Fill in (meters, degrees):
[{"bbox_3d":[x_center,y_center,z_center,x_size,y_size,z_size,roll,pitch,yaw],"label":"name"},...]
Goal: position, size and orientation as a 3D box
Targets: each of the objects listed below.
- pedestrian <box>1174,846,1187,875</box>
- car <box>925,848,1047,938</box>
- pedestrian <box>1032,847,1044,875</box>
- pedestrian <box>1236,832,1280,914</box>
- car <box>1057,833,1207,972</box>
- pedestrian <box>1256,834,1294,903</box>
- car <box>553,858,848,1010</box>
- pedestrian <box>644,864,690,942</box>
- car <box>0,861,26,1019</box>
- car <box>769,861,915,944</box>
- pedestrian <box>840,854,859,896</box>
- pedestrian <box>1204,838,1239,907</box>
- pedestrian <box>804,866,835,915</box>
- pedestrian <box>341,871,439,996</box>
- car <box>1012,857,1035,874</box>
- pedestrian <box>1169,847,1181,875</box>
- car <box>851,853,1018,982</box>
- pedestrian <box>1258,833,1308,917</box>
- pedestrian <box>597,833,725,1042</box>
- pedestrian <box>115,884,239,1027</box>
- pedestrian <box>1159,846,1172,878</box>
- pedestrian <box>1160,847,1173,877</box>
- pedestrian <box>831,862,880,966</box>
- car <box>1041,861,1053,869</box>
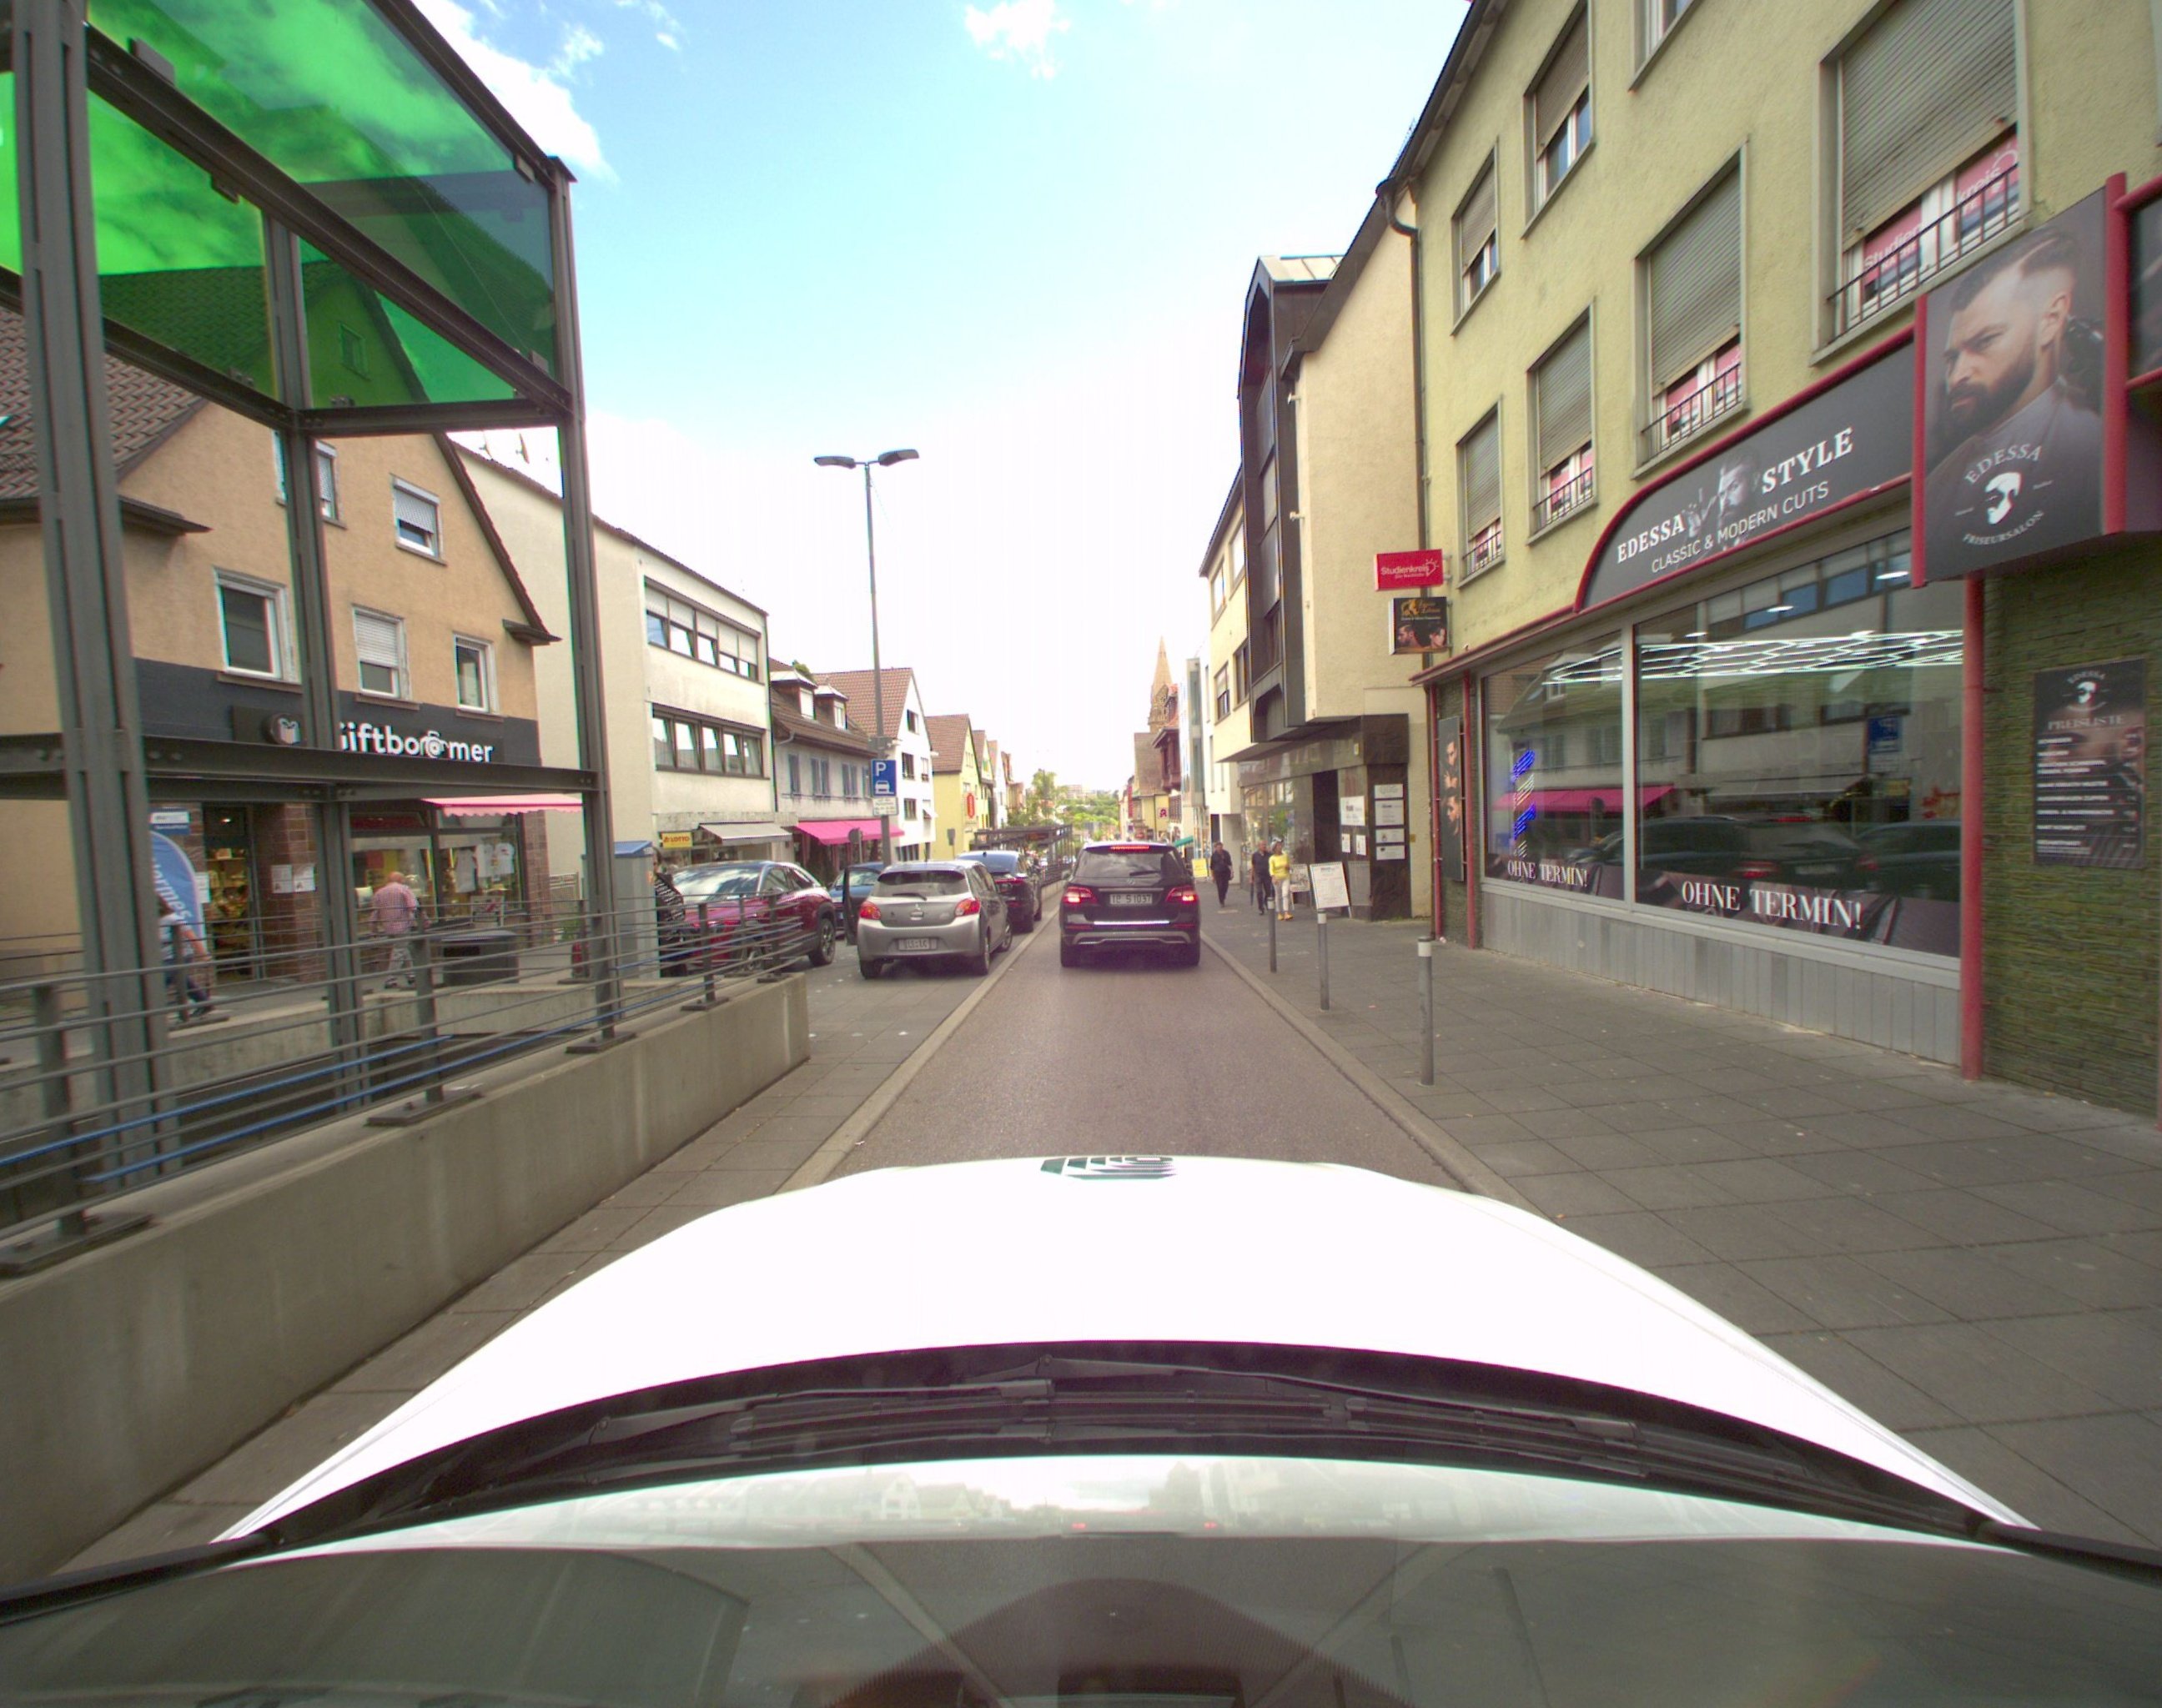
[{"bbox_3d":[5.875,0.391,47.999,0.572,1.689,0.565,-3,0,-5],"label":"pedestrian"},{"bbox_3d":[-1.857,0.731,17.273,1.949,1.639,4.316,-1,0,1],"label":"car"},{"bbox_3d":[-2.639,0.424,49.904,0.608,1.689,0.565,-1,-1,11],"label":"pedestrian"},{"bbox_3d":[3.962,0.416,18.303,0.708,1.753,0.785,-4,0,1],"label":"pedestrian"},{"bbox_3d":[0.652,0.622,12.353,1.894,1.747,3.999,0,0,0],"label":"car"},{"bbox_3d":[4.964,0.371,20.841,0.662,1.689,0.542,-6,0,-5],"label":"pedestrian"},{"bbox_3d":[-4.534,0.840,10.508,1.732,1.543,4.194,-1,0,1],"label":"car"},{"bbox_3d":[-9.354,1.099,18.422,0.638,1.689,0.670,-2,0,41],"label":"pedestrian"},{"bbox_3d":[-14.914,1.093,9.043,4.053,1.873,1.885,-2,0,3],"label":"car"},{"bbox_3d":[-4.780,0.913,16.859,1.732,1.475,3.886,-1,0,2],"label":"car"},{"bbox_3d":[-9.228,0.831,32.442,0.576,1.689,0.577,0,-1,1],"label":"pedestrian"},{"bbox_3d":[3.715,0.473,21.579,0.708,1.753,0.787,-4,0,1],"label":"pedestrian"},{"bbox_3d":[-8.526,1.177,26.561,0.662,1.539,0.946,-1,0,-1],"label":"pedestrian"},{"bbox_3d":[-9.870,1.107,11.656,0.636,1.689,0.829,-1,0,6],"label":"pedestrian"},{"bbox_3d":[-5.155,1.041,73.455,1.683,1.490,3.981,0,0,2],"label":"car"},{"bbox_3d":[5.641,0.406,48.840,0.572,1.689,0.565,0,-1,-5],"label":"pedestrian"},{"bbox_3d":[-1.904,0.769,11.646,1.614,1.532,3.671,-1,0,1],"label":"car"},{"bbox_3d":[4.083,0.416,16.529,0.708,1.631,0.835,-4,0,1],"label":"pedestrian"},{"bbox_3d":[-3.585,0.668,7.013,0.531,1.672,0.902,-2,0,4],"label":"pedestrian"},{"bbox_3d":[-10.758,1.181,9.714,0.563,1.573,0.717,-4,0,1],"label":"pedestrian"},{"bbox_3d":[4.561,0.421,43.862,0.620,1.689,0.565,0,-1,-5],"label":"pedestrian"},{"bbox_3d":[4.890,0.457,46.489,0.541,1.726,0.527,-3,0,-5],"label":"pedestrian"},{"bbox_3d":[-3.225,0.841,11.676,0.464,1.431,0.492,-4,0,1],"label":"pedestrian"},{"bbox_3d":[-4.683,1.515,113.225,1.383,1.070,3.114,-3,0,2],"label":"car"}]
